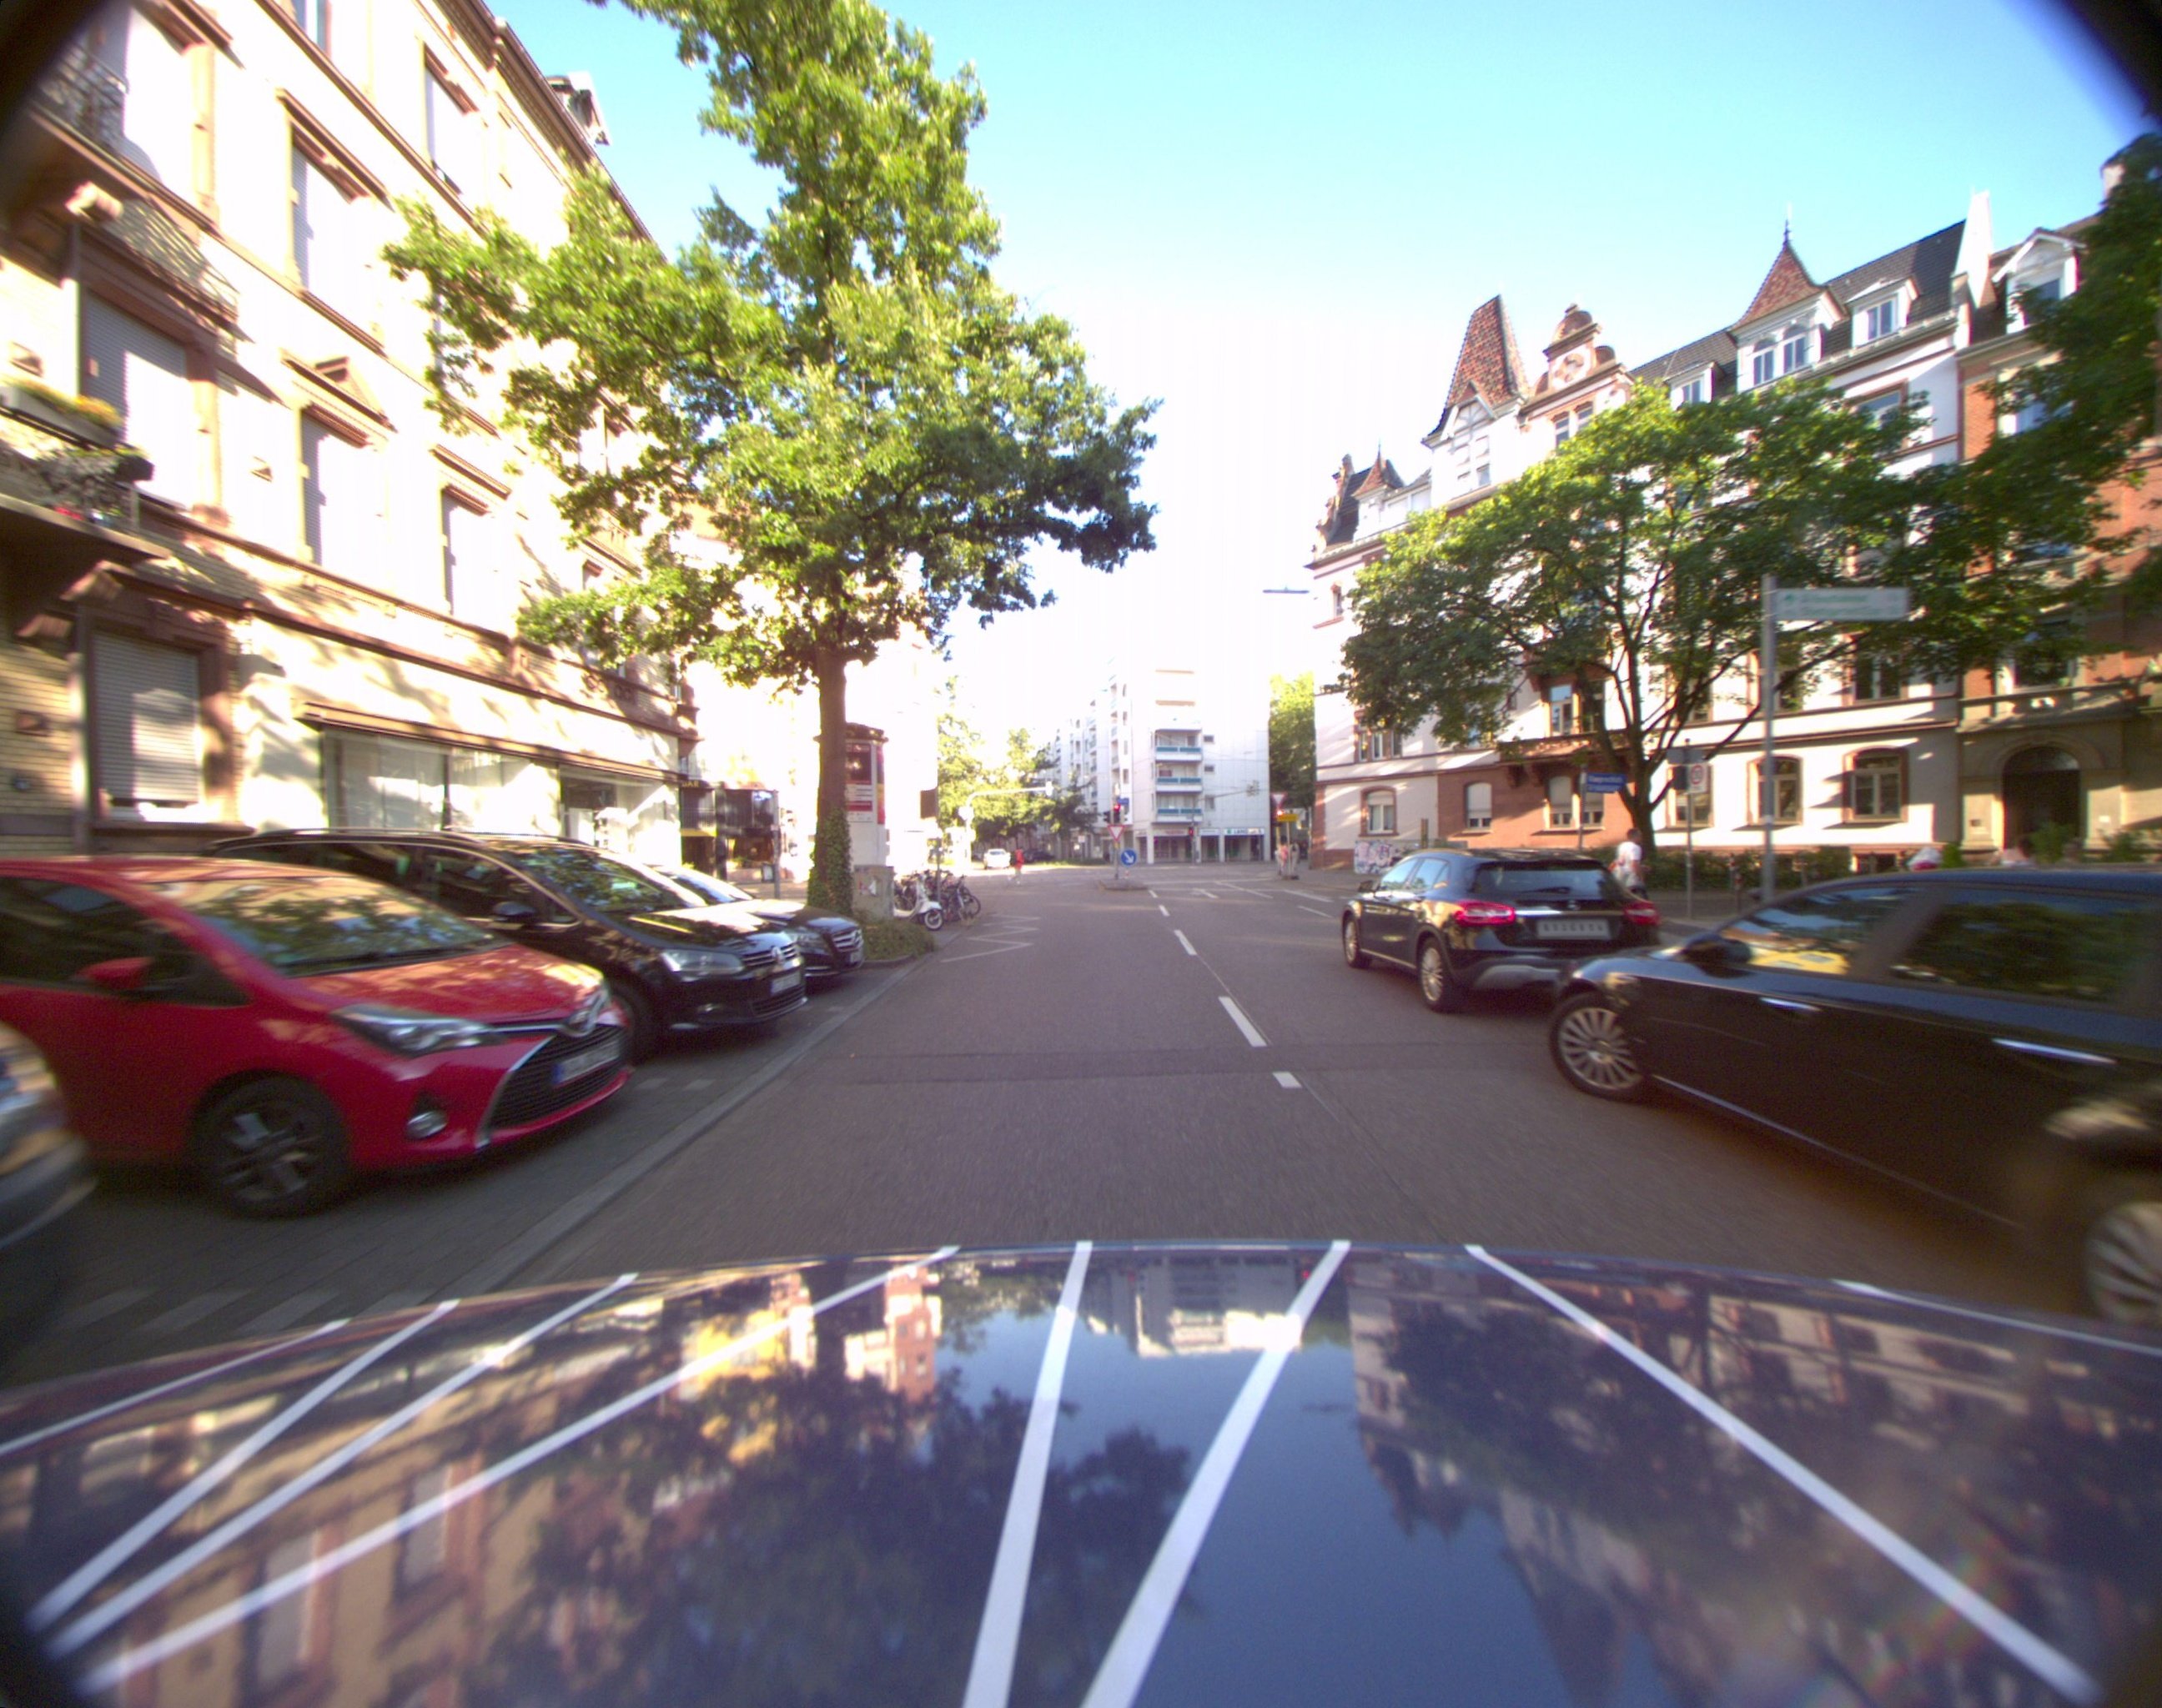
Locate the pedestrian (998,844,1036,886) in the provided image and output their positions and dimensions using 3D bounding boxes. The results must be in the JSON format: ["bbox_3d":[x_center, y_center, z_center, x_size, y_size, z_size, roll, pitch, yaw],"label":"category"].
[{"bbox_3d":[-2.598,0.424,30.894,1.175,1.670,1.005,-2,1,-30],"label":"pedestrian"}]

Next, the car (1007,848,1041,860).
[{"bbox_3d":[-7.933,0.021,106.224,4.308,1.576,1.996,-1,1,-19],"label":"car"}]

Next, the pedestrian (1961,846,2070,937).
[{"bbox_3d":[13.743,0.528,11.197,0.745,1.282,0.742,-1,1,-10],"label":"pedestrian"}]

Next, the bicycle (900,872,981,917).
[{"bbox_3d":[-3.495,0.996,18.970,1.940,1.046,0.501,1,2,-37],"label":"bicycle"}]

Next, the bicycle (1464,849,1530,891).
[{"bbox_3d":[12.616,0.448,23.170,0.547,1.189,2.959,-1,1,4],"label":"bicycle"}]

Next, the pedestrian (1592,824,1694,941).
[{"bbox_3d":[9.516,0.460,12.895,1.118,1.888,0.842,-1,1,-9],"label":"pedestrian"}]

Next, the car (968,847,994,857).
[{"bbox_3d":[-18.155,-0.368,137.602,4.308,1.576,1.996,-1,1,-19],"label":"car"}]

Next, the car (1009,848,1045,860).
[{"bbox_3d":[-7.171,-0.008,100.103,4.309,1.576,1.996,-1,1,-21],"label":"car"}]

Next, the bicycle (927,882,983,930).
[{"bbox_3d":[-2.688,1.105,16.379,0.353,0.922,1.416,3,2,30],"label":"bicycle"}]

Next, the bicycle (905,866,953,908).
[{"bbox_3d":[-4.256,0.904,21.325,0.424,1.087,1.480,3,2,29],"label":"bicycle"}]

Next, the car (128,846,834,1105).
[{"bbox_3d":[-4.698,0.793,6.290,4.696,1.669,1.852,1,1,9],"label":"car"}]

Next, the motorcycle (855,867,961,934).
[{"bbox_3d":[-3.347,0.896,14.808,1.902,1.227,0.686,1,1,0],"label":"motorcycle"}]

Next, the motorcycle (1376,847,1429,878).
[{"bbox_3d":[13.446,0.337,31.758,2.113,1.258,0.841,-1,1,-26],"label":"motorcycle"}]

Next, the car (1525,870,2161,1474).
[{"bbox_3d":[3.743,0.860,2.880,1.762,1.443,4.551,0,1,5],"label":"car"}]

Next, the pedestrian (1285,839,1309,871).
[{"bbox_3d":[11.816,0.057,41.621,0.986,1.688,0.867,-2,2,-42],"label":"pedestrian"}]

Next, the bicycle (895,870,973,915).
[{"bbox_3d":[-3.732,0.963,19.402,1.940,1.087,0.424,1,2,-37],"label":"bicycle"}]

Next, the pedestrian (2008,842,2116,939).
[{"bbox_3d":[14.746,0.523,11.437,0.757,1.403,0.727,-1,1,-12],"label":"pedestrian"}]

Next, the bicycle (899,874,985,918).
[{"bbox_3d":[-3.296,0.999,18.093,1.939,0.982,0.495,1,2,-23],"label":"bicycle"}]

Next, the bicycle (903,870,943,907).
[{"bbox_3d":[-4.614,0.997,22.166,1.000,1.021,0.737,-1,1,-22],"label":"bicycle"}]

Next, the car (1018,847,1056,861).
[{"bbox_3d":[-5.536,-0.035,95.390,4.309,1.576,1.996,-1,1,-21],"label":"car"}]

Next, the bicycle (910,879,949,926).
[{"bbox_3d":[-3.309,1.041,16.692,0.354,0.922,1.526,2,1,7],"label":"bicycle"}]

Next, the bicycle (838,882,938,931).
[{"bbox_3d":[-3.929,1.063,15.506,1.935,0.922,0.354,2,2,-1],"label":"bicycle"}]

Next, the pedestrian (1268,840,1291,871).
[{"bbox_3d":[11.027,0.069,42.230,0.867,1.688,0.986,0,2,44],"label":"pedestrian"}]

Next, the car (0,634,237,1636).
[{"bbox_3d":[-4.905,0.665,1.105,5.034,2.202,1.992,-1,1,0],"label":"car"}]

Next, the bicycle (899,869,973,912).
[{"bbox_3d":[-3.830,0.947,20.154,1.940,1.087,0.424,1,2,-40],"label":"bicycle"}]

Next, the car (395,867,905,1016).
[{"bbox_3d":[-4.651,0.904,8.703,4.797,1.405,1.851,1,1,2],"label":"car"}]

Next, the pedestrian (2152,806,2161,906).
[{"bbox_3d":[19.317,0.037,13.101,0.571,1.760,0.767,0,1,5],"label":"pedestrian"}]

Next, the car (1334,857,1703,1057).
[{"bbox_3d":[4.096,0.811,8.013,1.762,1.479,4.139,0,1,5],"label":"car"}]

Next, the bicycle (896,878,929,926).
[{"bbox_3d":[-3.706,1.042,16.815,0.354,0.922,1.525,2,1,1],"label":"bicycle"}]

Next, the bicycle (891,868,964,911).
[{"bbox_3d":[-4.124,0.937,20.527,1.940,1.087,0.424,1,2,-40],"label":"bicycle"}]

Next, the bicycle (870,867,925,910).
[{"bbox_3d":[-5.039,0.926,20.969,0.572,1.087,1.480,3,2,31],"label":"bicycle"}]

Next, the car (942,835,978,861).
[{"bbox_3d":[-15.684,-0.765,97.863,3.329,3.160,8.069,-1,1,-18],"label":"car"}]

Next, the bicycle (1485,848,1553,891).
[{"bbox_3d":[13.264,0.434,23.136,0.547,1.189,2.959,-1,1,4],"label":"bicycle"}]

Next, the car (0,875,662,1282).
[{"bbox_3d":[-4.699,0.944,3.881,4.116,1.526,1.724,-1,1,0],"label":"car"}]

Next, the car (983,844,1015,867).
[{"bbox_3d":[-6.730,0.105,62.299,2.001,1.740,3.994,-1,1,-15],"label":"car"}]

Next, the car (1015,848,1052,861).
[{"bbox_3d":[-6.084,0.055,97.921,4.309,1.576,1.996,-1,1,-21],"label":"car"}]

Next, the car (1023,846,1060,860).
[{"bbox_3d":[-4.860,-0.115,93.039,4.004,1.576,1.996,-1,1,-21],"label":"car"}]
